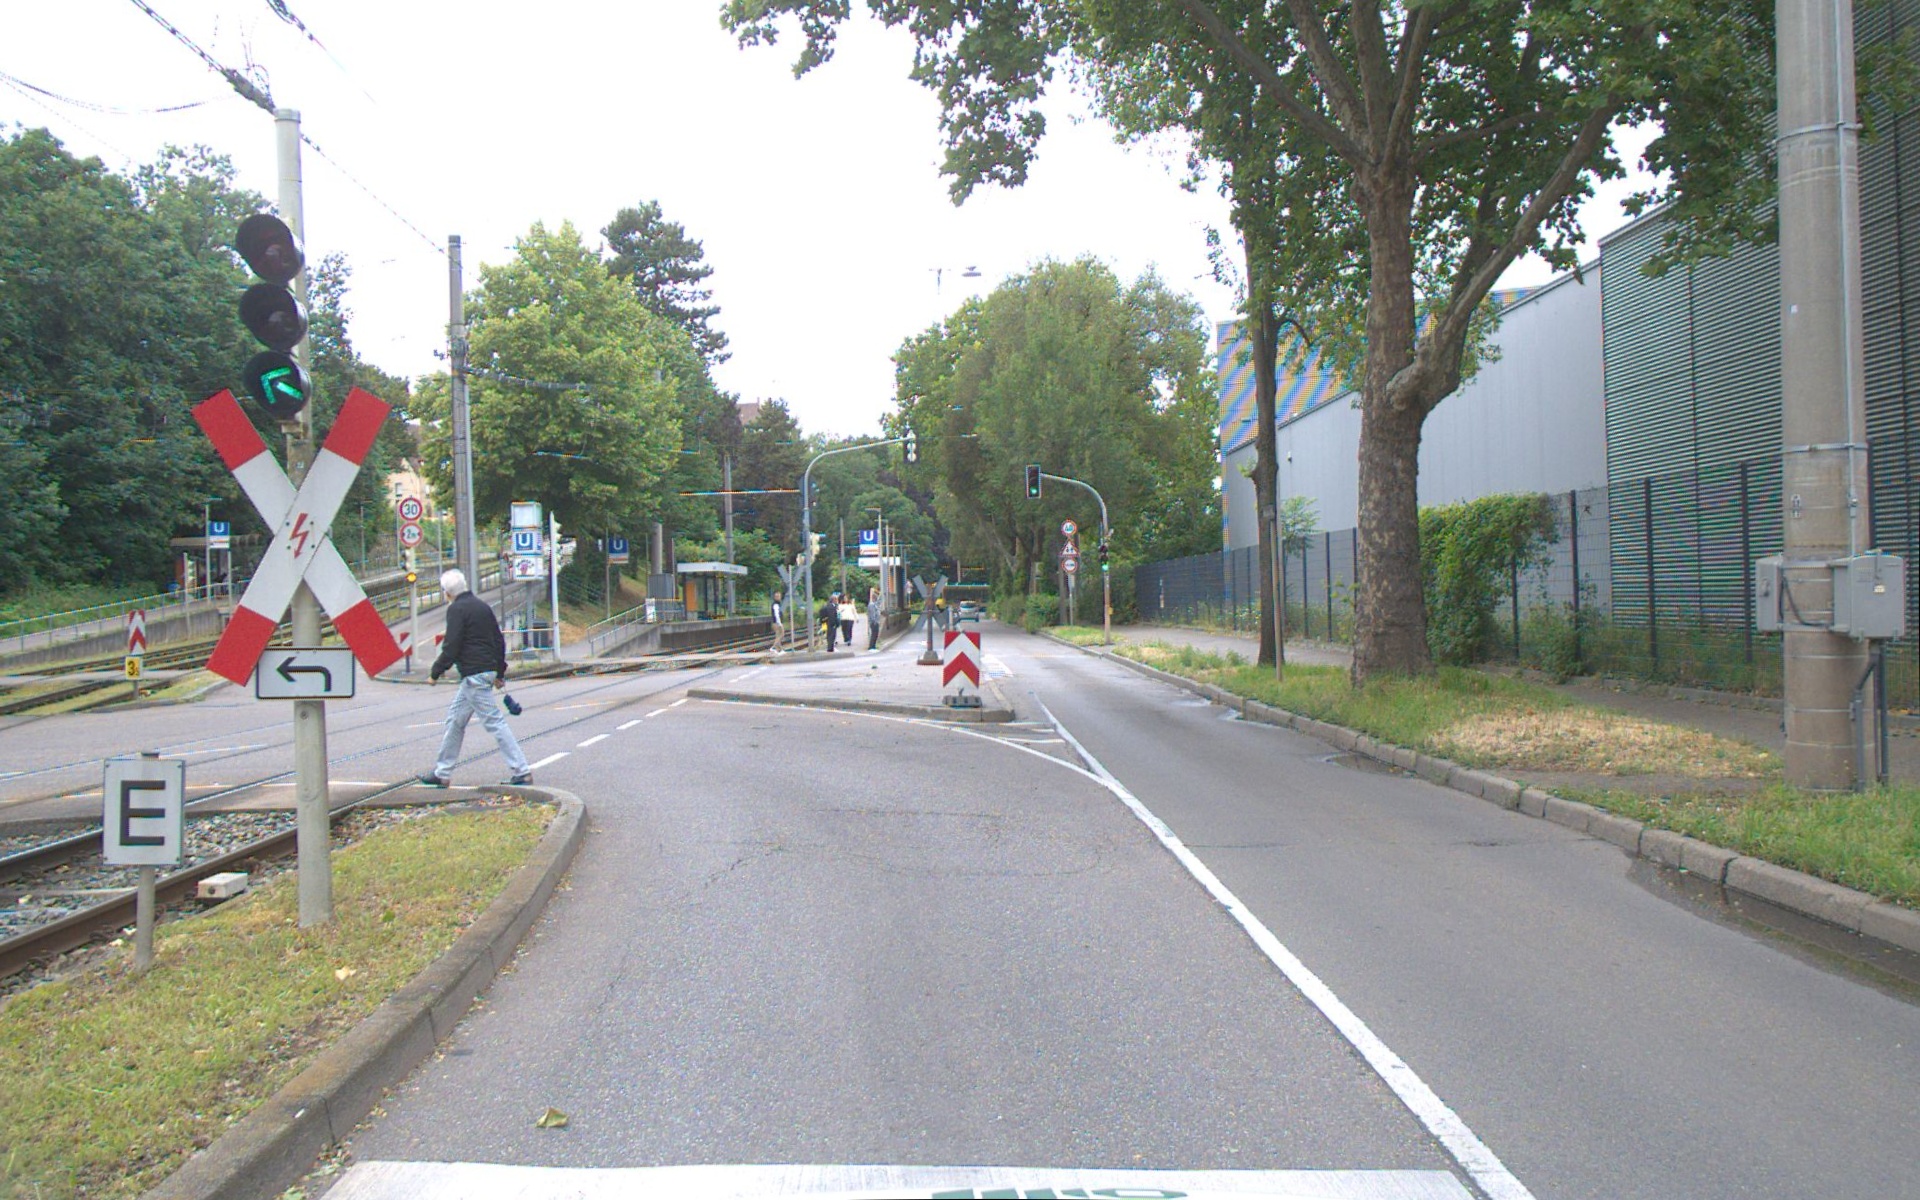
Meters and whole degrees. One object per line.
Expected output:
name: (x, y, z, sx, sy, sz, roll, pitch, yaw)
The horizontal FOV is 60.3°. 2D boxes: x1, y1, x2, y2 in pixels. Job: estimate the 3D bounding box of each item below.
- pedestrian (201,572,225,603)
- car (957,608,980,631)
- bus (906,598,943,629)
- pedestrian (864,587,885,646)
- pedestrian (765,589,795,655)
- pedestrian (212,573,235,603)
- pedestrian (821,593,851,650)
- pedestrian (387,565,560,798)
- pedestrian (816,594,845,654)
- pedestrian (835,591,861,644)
pedestrian: (-33.598, -0.580, 74.397, 0.757, 1.349, 0.786, 1, 2, -9)
car: (0.684, 1.555, 131.038, 1.708, 1.626, 4.000, 1, 1, -1)
bus: (-4.382, 1.699, 206.593, 2.676, 3.689, 8.949, 1, 0, 12)
pedestrian: (-2.628, 0.506, 50.739, 0.538, 1.789, 0.738, 1, -1, 4)
pedestrian: (-5.152, 0.621, 47.324, 0.788, 1.853, 0.668, 1, -1, -11)
pedestrian: (-33.607, -0.564, 75.477, 0.757, 1.349, 0.785, 1, -1, -9)
pedestrian: (-3.705, 0.637, 49.406, 0.665, 1.694, 0.738, 1, -1, 14)
pedestrian: (-3.930, 0.625, 13.372, 1.097, 1.791, 0.811, 0, -1, 32)
pedestrian: (-3.676, 0.673, 46.957, 0.720, 1.694, 0.682, 1, -1, 1)
pedestrian: (-3.580, 0.565, 53.018, 0.722, 1.694, 0.680, 1, -1, -11)
